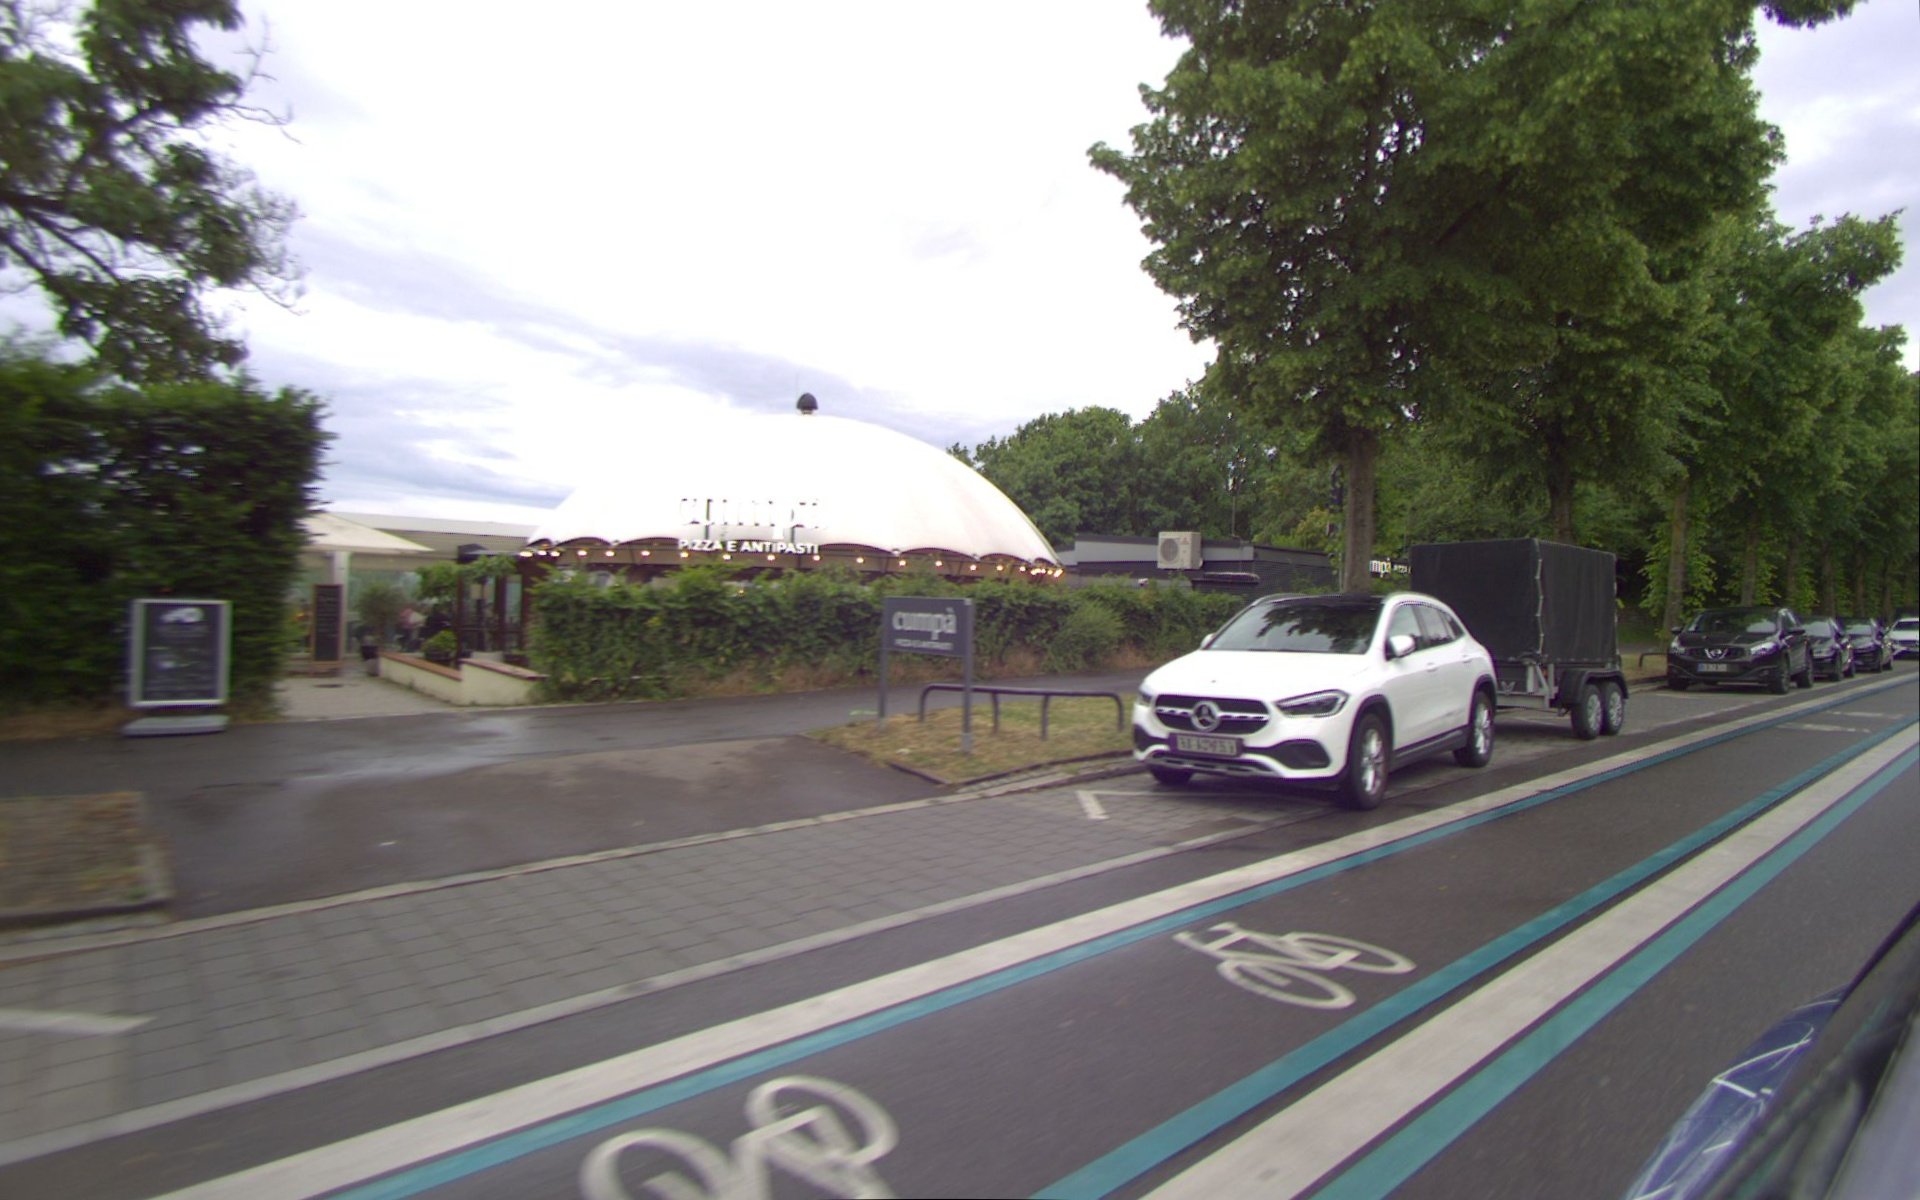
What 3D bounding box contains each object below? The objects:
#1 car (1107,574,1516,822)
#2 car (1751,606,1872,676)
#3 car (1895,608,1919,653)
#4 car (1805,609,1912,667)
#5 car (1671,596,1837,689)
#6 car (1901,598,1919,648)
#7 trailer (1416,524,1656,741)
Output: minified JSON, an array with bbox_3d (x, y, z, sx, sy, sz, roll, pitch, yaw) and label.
[{"bbox_3d":[3.242,0.639,8.762,1.755,1.605,4.345,0,0,43],"label":"car"},{"bbox_3d":[19.507,0.870,23.137,3.933,1.444,1.691,0,0,-43],"label":"car"},{"bbox_3d":[34.621,1.054,35.793,4.217,1.505,1.822,0,0,-41],"label":"car"},{"bbox_3d":[23.992,0.966,26.988,4.013,1.400,1.687,0,-1,-42],"label":"car"},{"bbox_3d":[15.379,0.765,19.526,4.263,1.592,1.692,0,-2,-41],"label":"car"},{"bbox_3d":[38.479,0.892,39.681,4.535,1.900,1.845,1,-1,-41],"label":"car"},{"bbox_3d":[7.098,0.352,12.361,3.499,2.298,1.349,0,-1,-39],"label":"trailer"}]
